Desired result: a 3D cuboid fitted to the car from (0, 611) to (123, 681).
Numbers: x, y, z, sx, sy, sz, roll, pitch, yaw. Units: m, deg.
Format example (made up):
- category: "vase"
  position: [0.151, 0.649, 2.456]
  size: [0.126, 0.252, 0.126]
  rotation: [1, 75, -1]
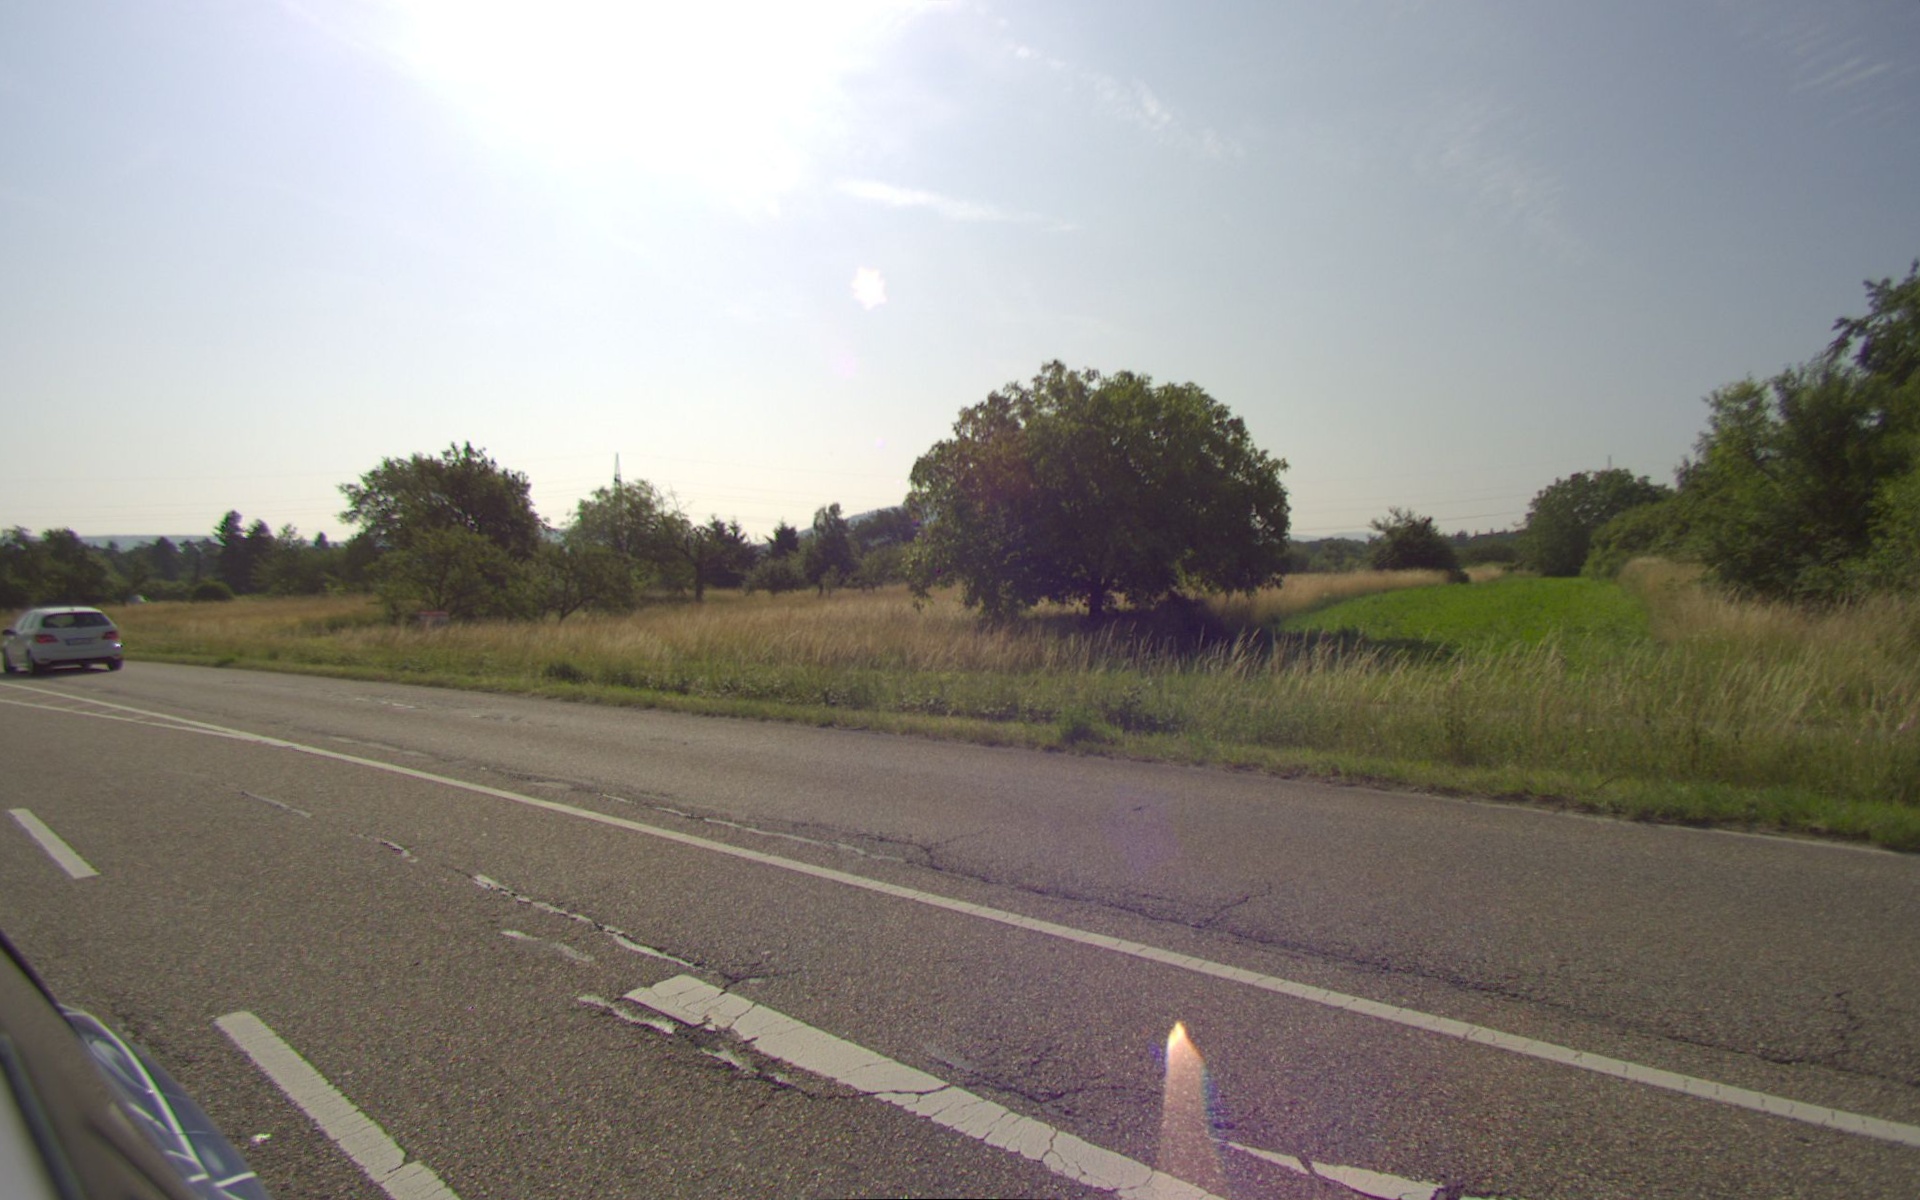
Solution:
- category: "car"
  position: [-22.765, 1.110, 25.491]
  size: [4.220, 1.597, 1.794]
  rotation: [-1, -1, 39]
